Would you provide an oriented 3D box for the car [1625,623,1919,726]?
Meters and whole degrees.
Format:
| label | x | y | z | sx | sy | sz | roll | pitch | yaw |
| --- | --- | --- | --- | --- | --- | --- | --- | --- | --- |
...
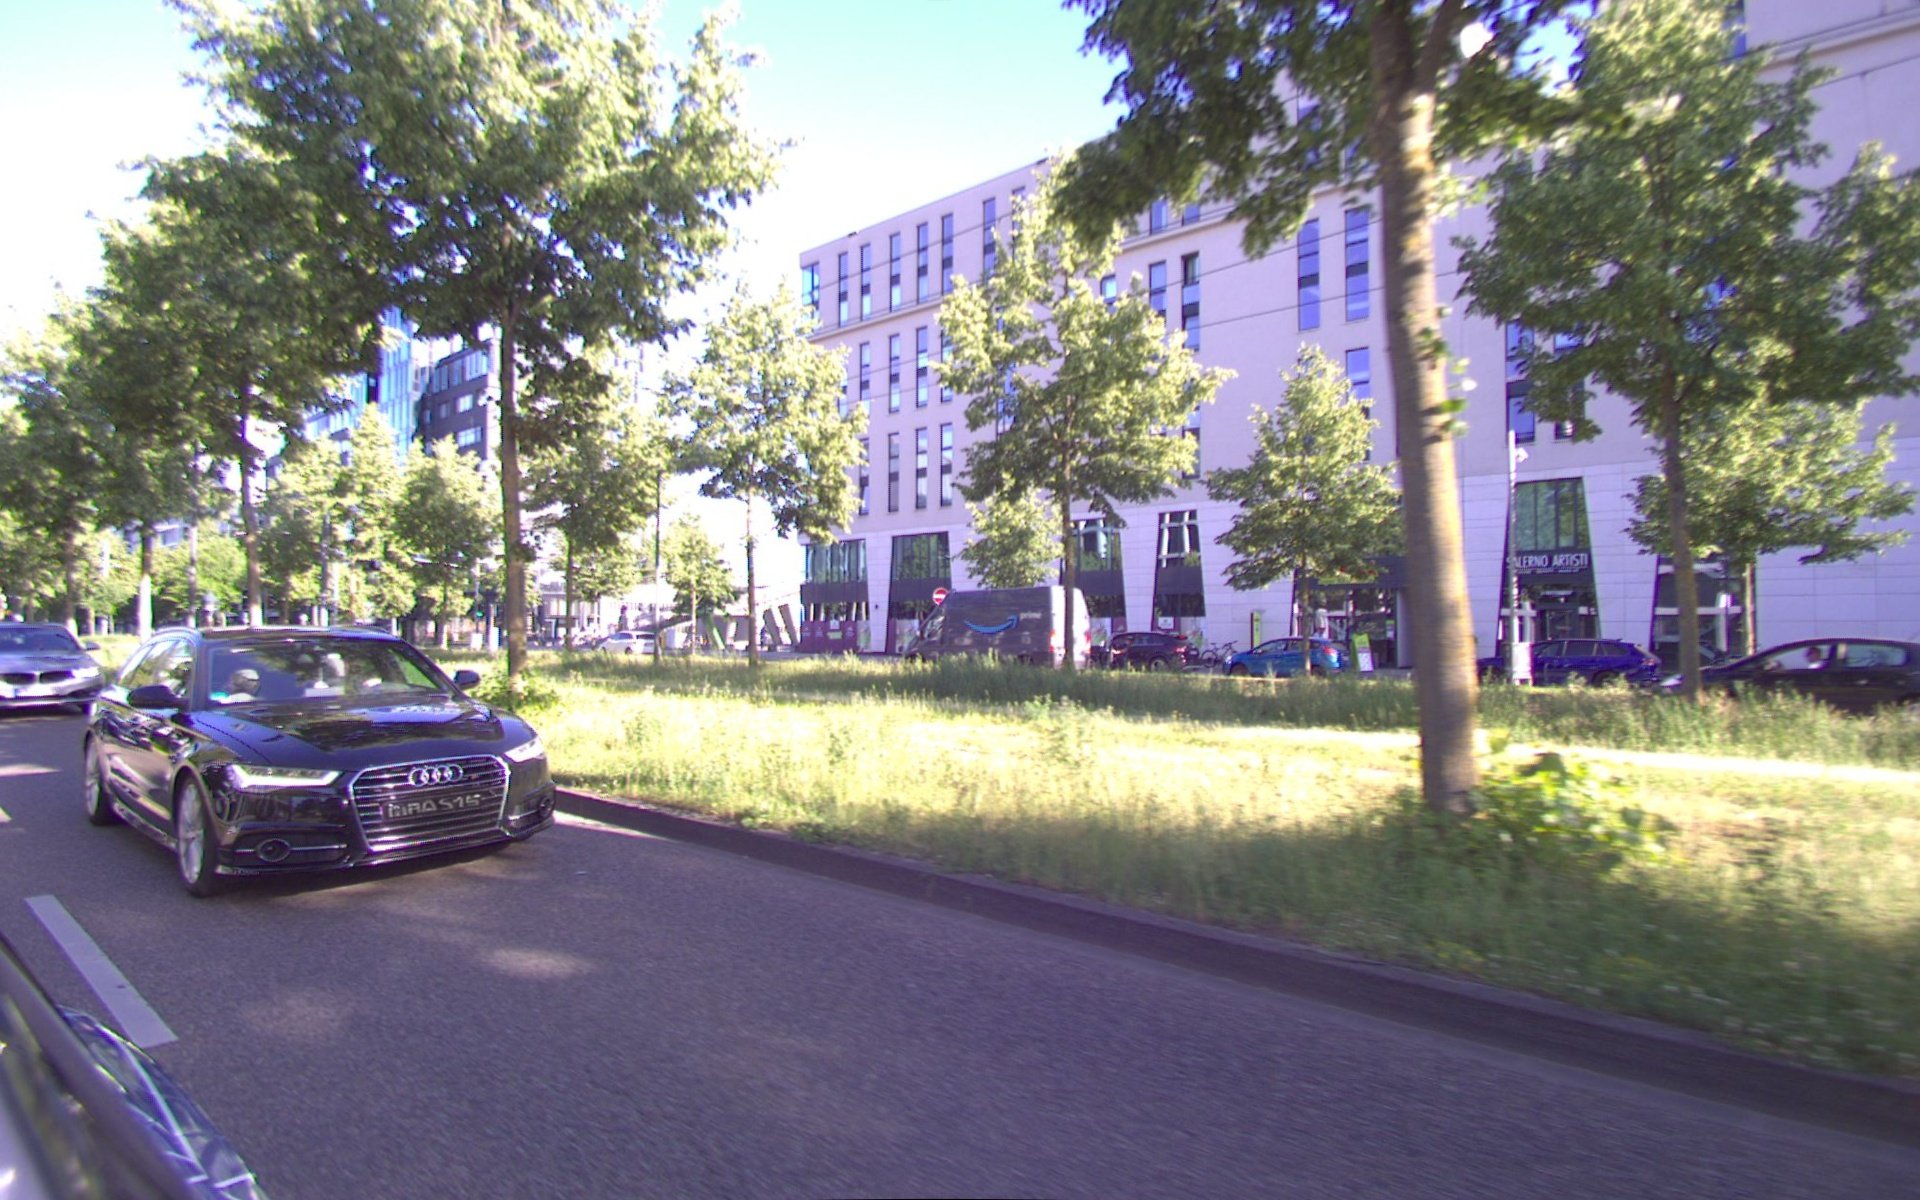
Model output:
| label | x | y | z | sx | sy | sz | roll | pitch | yaw |
| --- | --- | --- | --- | --- | --- | --- | --- | --- | --- |
| car | 13.546 | 1.124 | 16.426 | 4.450 | 1.452 | 1.974 | -1 | 0 | 39 |

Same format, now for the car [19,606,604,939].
| label | x | y | z | sx | sy | sz | roll | pitch | yaw |
| --- | --- | --- | --- | --- | --- | --- | --- | --- | --- |
| car | -4.694 | 0.889 | 6.939 | 5.080 | 1.492 | 1.933 | -3 | -3 | 40 |

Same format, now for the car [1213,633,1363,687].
| label | x | y | z | sx | sy | sz | roll | pitch | yaw |
| --- | --- | --- | --- | --- | --- | --- | --- | --- | --- |
| car | 10.238 | 1.835 | 31.729 | 3.998 | 1.584 | 1.972 | -2 | -2 | 42 |

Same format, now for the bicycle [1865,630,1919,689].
| label | x | y | z | sx | sy | sz | roll | pitch | yaw |
| --- | --- | --- | --- | --- | --- | --- | --- | --- | --- |
| bicycle | 25.979 | 1.580 | 26.759 | 3.034 | 1.557 | 0.611 | -1 | -1 | 44 |

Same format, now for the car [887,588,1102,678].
| label | x | y | z | sx | sy | sz | roll | pitch | yaw |
| --- | --- | --- | --- | --- | --- | --- | --- | --- | --- |
| car | 0.936 | 0.930 | 30.005 | 6.017 | 2.399 | 2.483 | -1 | 0 | 37 |

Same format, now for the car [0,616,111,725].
| label | x | y | z | sx | sy | sz | roll | pitch | yaw |
| --- | --- | --- | --- | --- | --- | --- | --- | --- | --- |
| car | -15.595 | 1.083 | 16.683 | 4.276 | 1.590 | 1.862 | -1 | 0 | 42 |

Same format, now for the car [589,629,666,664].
| label | x | y | z | sx | sy | sz | roll | pitch | yaw |
| --- | --- | --- | --- | --- | --- | --- | --- | --- | --- |
| car | -18.845 | 2.581 | 57.260 | 4.416 | 1.822 | 2.079 | -1 | 0 | 39 |

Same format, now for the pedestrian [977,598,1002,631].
| label | x | y | z | sx | sy | sz | roll | pitch | yaw |
| --- | --- | --- | --- | --- | --- | --- | --- | --- | --- |
| pedestrian | 1.415 | 0.701 | 48.658 | 0.964 | 1.548 | 0.649 | -1 | -1 | 45 |

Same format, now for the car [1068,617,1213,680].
| label | x | y | z | sx | sy | sz | roll | pitch | yaw |
| --- | --- | --- | --- | --- | --- | --- | --- | --- | --- |
| car | 6.208 | 1.652 | 35.097 | 4.549 | 2.029 | 1.974 | -2 | -3 | 39 |

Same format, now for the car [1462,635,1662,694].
| label | x | y | z | sx | sy | sz | roll | pitch | yaw |
| --- | --- | --- | --- | --- | --- | --- | --- | --- | --- |
| car | 15.814 | 1.655 | 26.694 | 4.331 | 1.424 | 1.706 | -2 | -3 | 38 |
